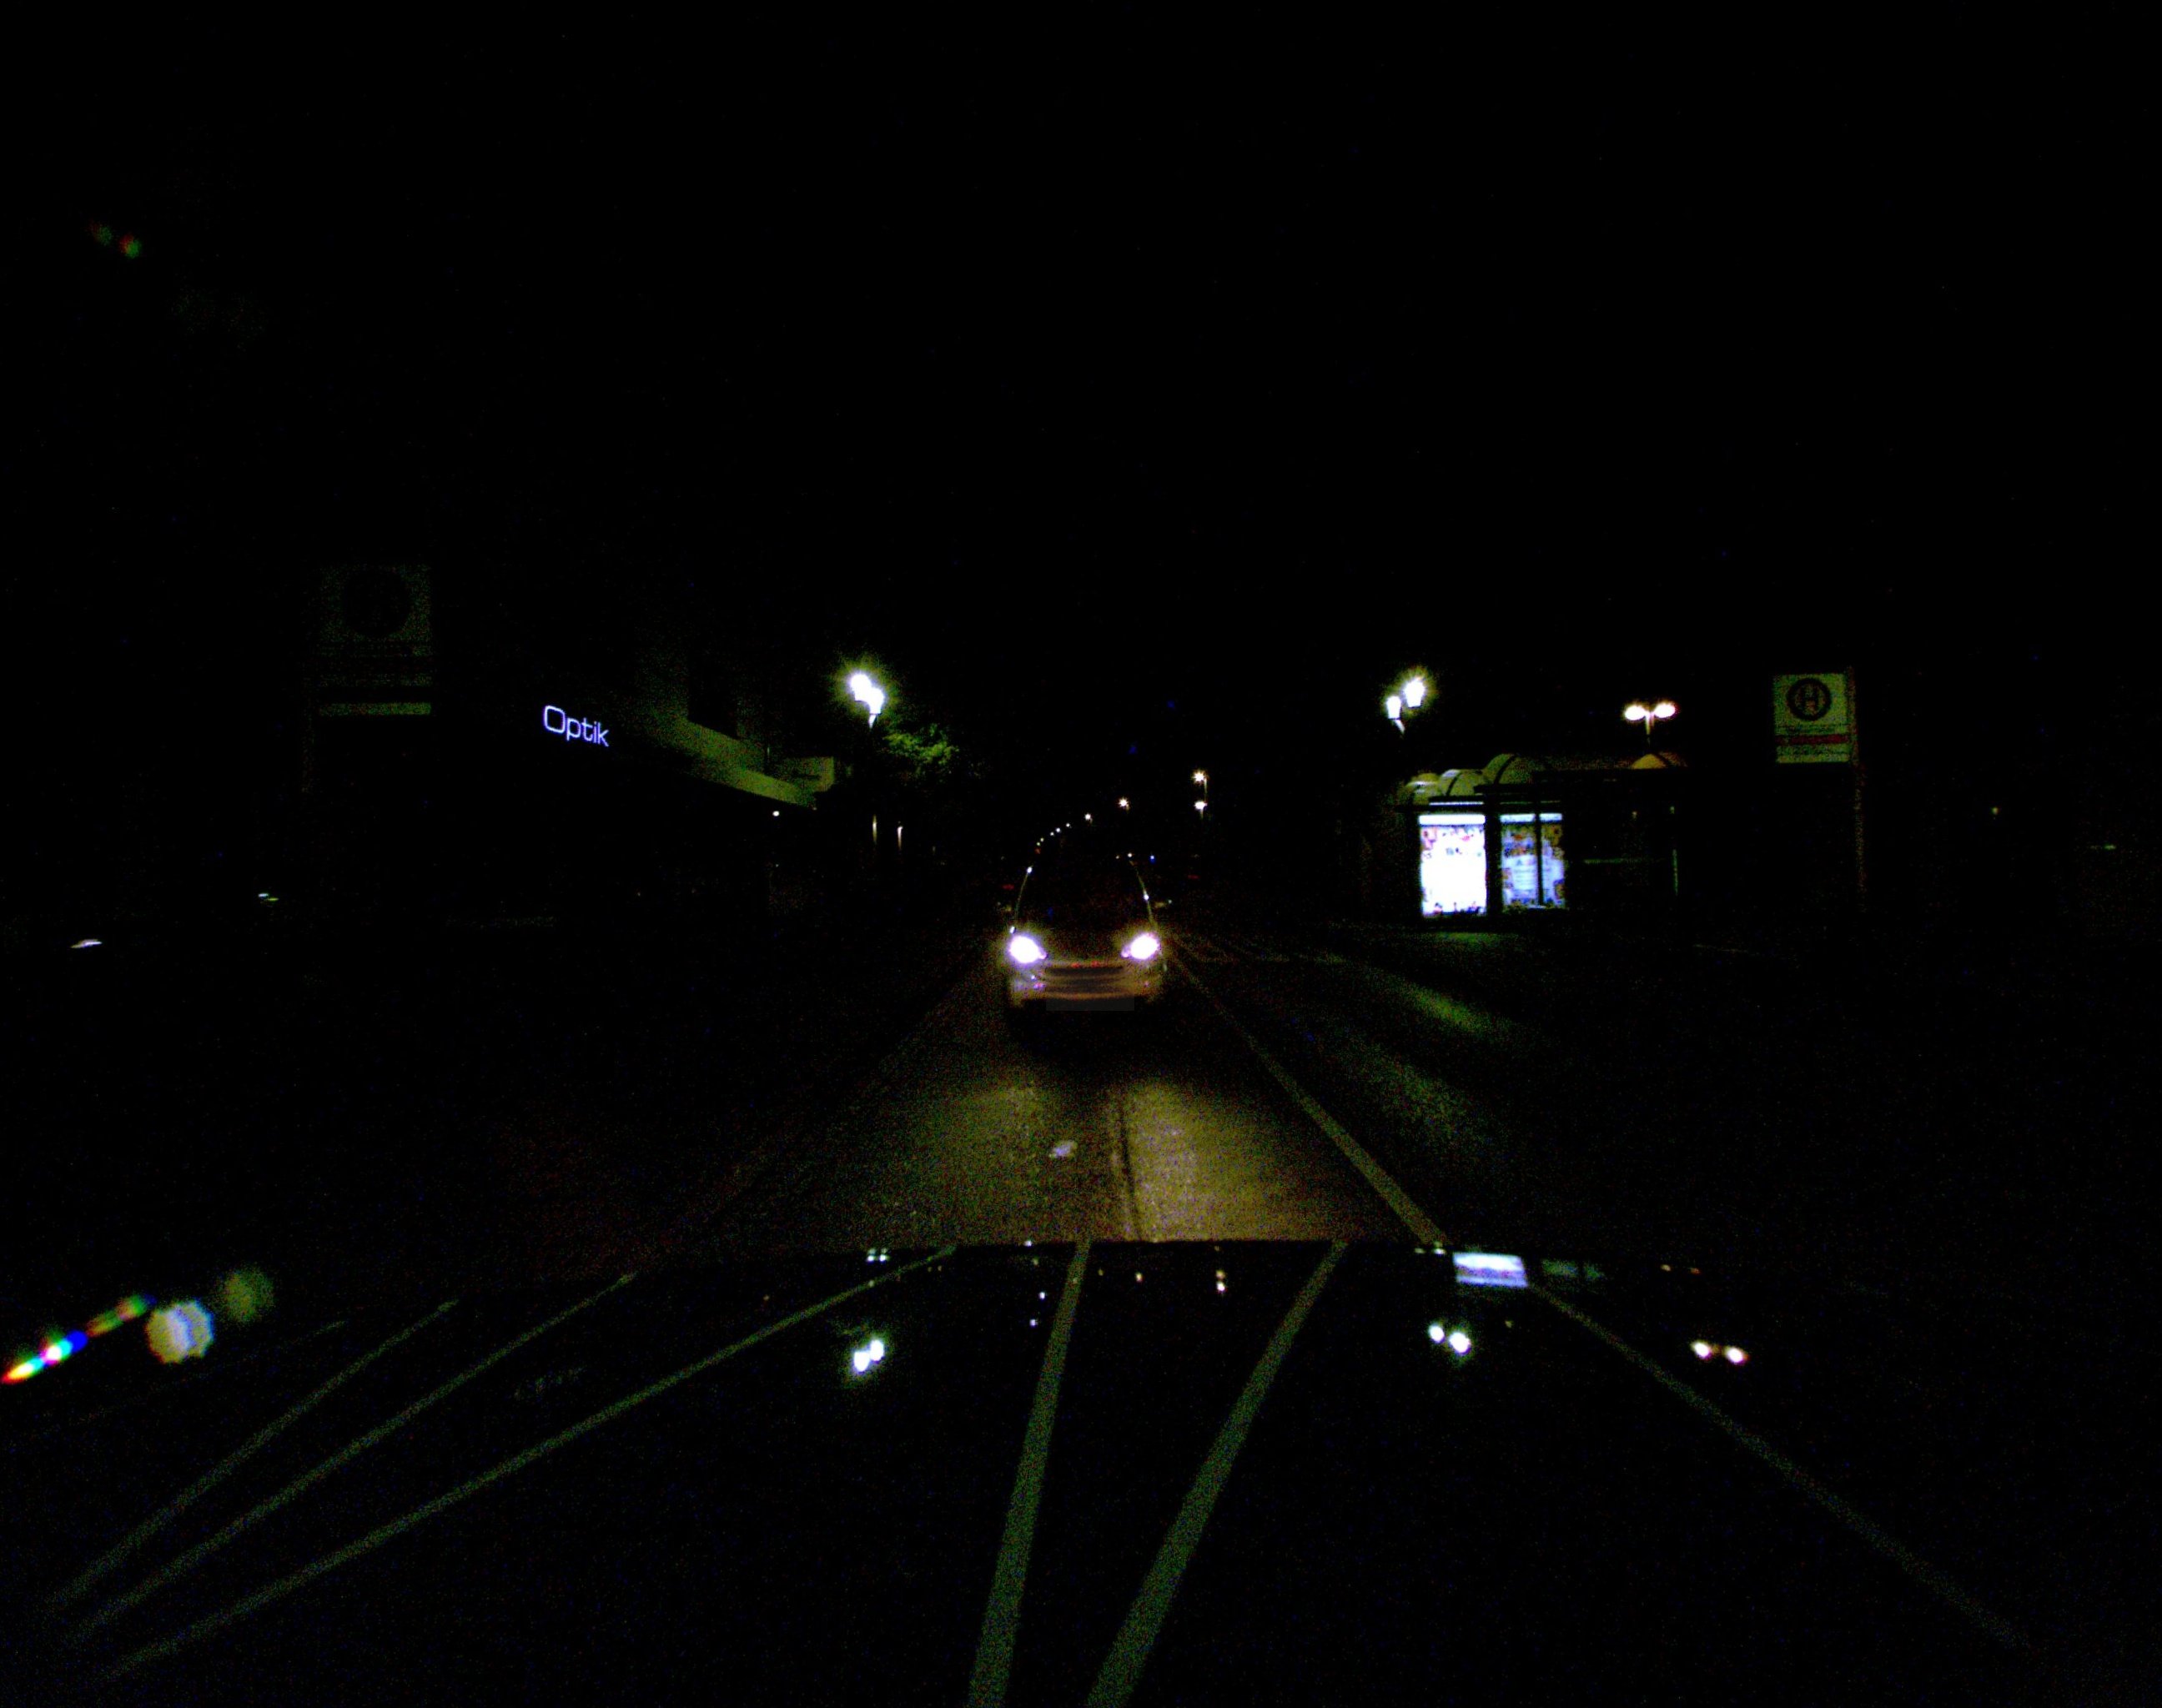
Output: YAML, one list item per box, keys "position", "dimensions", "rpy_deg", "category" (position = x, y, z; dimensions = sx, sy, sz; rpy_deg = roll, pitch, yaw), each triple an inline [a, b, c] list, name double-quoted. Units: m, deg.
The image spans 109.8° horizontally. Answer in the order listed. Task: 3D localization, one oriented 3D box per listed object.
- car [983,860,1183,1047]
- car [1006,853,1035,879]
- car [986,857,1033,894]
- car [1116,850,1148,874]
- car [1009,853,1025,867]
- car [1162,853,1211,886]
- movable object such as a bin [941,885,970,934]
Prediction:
- position: [0.087, 0.853, 8.167]
  dimensions: [1.627, 1.495, 3.550]
  rpy_deg: [-2, 0, 2]
  category: "car"
- position: [-3.898, 0.745, 49.386]
  dimensions: [1.792, 1.632, 4.378]
  rpy_deg: [0, 0, -4]
  category: "car"
- position: [-3.030, 0.887, 32.918]
  dimensions: [1.863, 1.434, 4.592]
  rpy_deg: [0, 1, -3]
  category: "car"
- position: [3.621, 0.564, 54.538]
  dimensions: [1.697, 1.515, 3.688]
  rpy_deg: [-2, 2, -6]
  category: "car"
- position: [-7.248, 0.674, 85.743]
  dimensions: [1.643, 1.458, 3.774]
  rpy_deg: [-3, 1, -5]
  category: "car"
- position: [5.116, 0.700, 37.316]
  dimensions: [1.696, 1.428, 4.127]
  rpy_deg: [-3, 0, -2]
  category: "car"
- position: [-2.586, 1.131, 15.608]
  dimensions: [0.525, 0.932, 0.628]
  rpy_deg: [-2, 2, -11]
  category: "movable object such as a bin"
